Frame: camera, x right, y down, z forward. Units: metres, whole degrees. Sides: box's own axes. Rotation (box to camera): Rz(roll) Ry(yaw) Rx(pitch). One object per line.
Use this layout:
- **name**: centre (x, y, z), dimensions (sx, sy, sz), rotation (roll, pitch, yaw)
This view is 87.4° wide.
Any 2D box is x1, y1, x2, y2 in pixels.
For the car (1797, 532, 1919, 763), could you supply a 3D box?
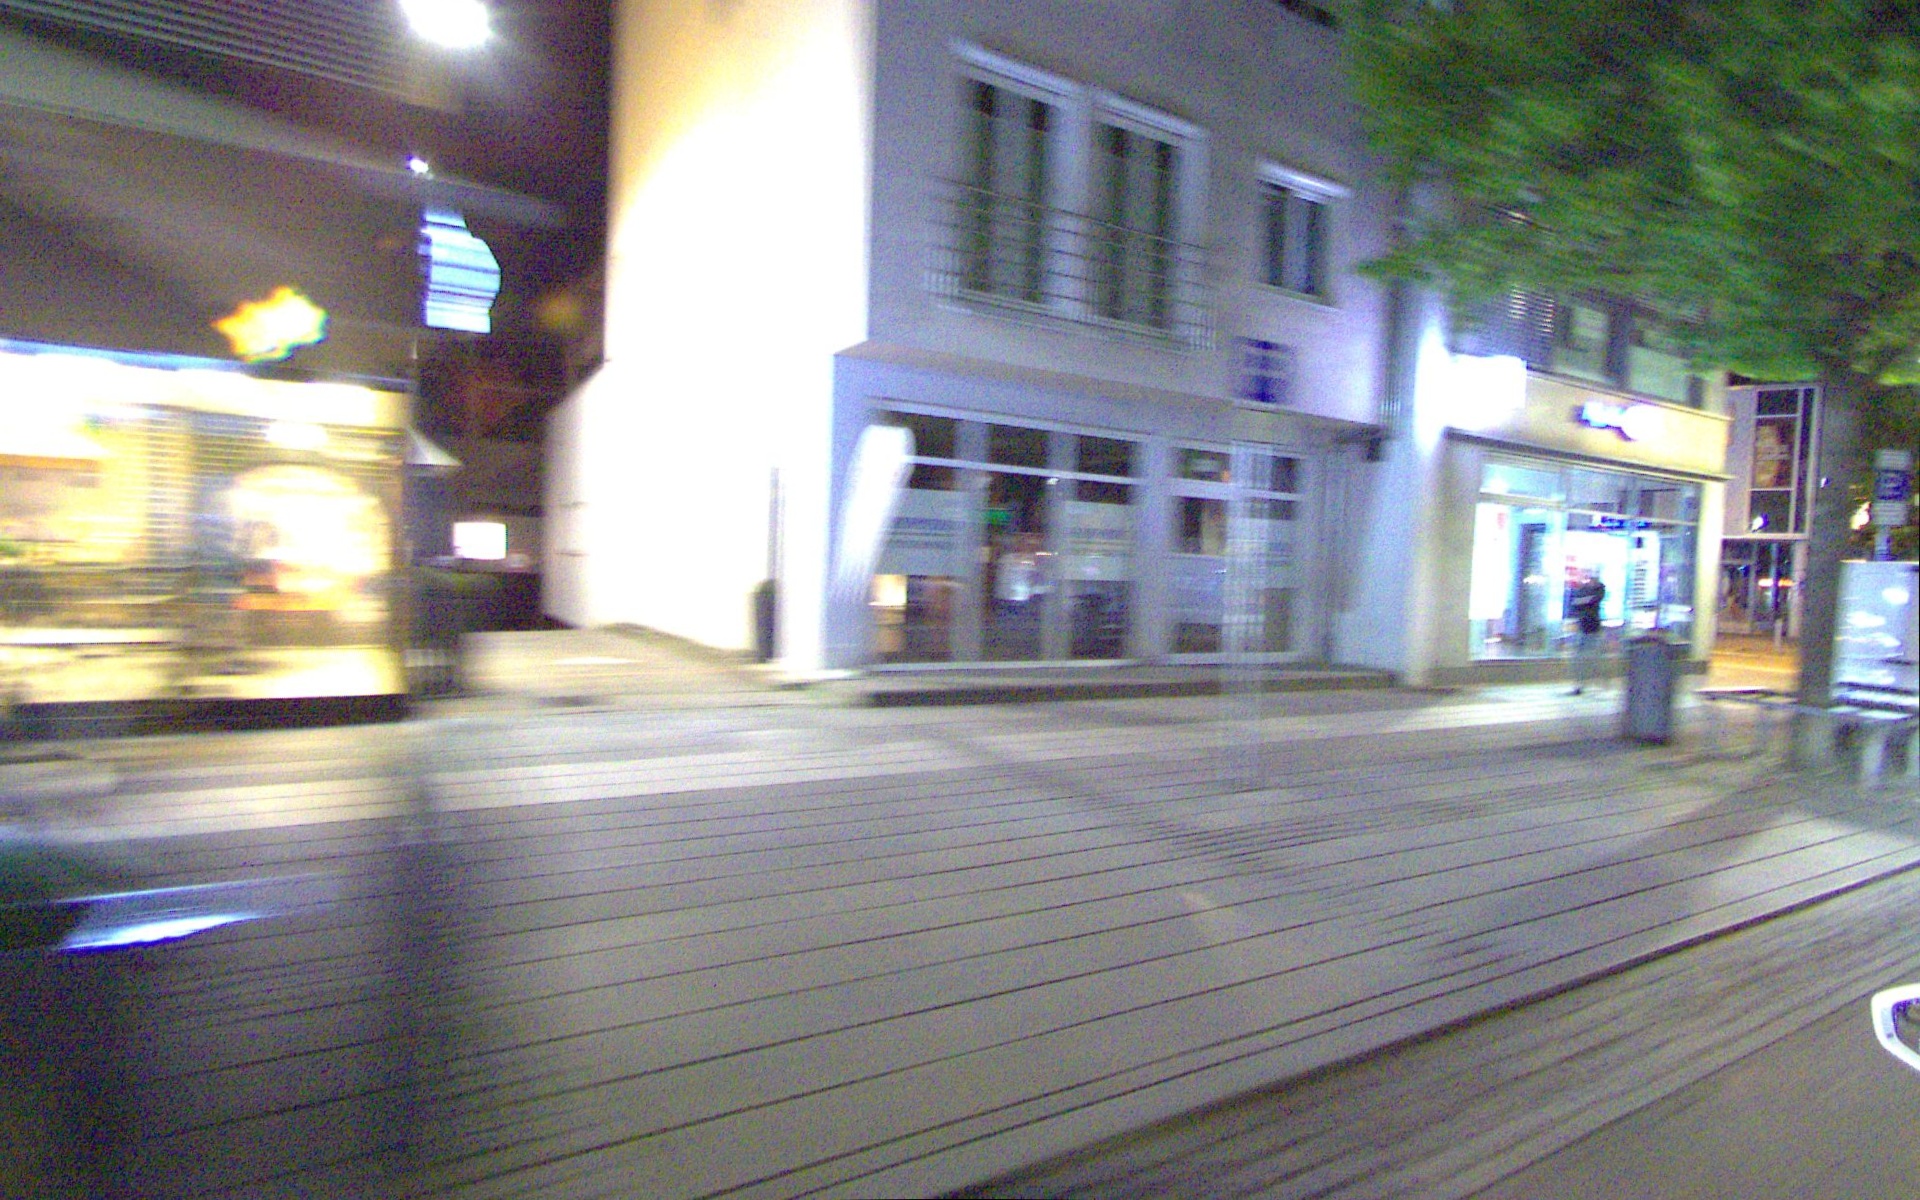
- **car**: centre (11.002, 0.488, 10.701), dimensions (5.040, 2.115, 1.840), rotation (1, 4, -36)

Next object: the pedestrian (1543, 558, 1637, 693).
- **pedestrian**: centre (8.450, 0.320, 13.472), dimensions (0.897, 1.742, 0.665), rotation (1, 2, -30)
